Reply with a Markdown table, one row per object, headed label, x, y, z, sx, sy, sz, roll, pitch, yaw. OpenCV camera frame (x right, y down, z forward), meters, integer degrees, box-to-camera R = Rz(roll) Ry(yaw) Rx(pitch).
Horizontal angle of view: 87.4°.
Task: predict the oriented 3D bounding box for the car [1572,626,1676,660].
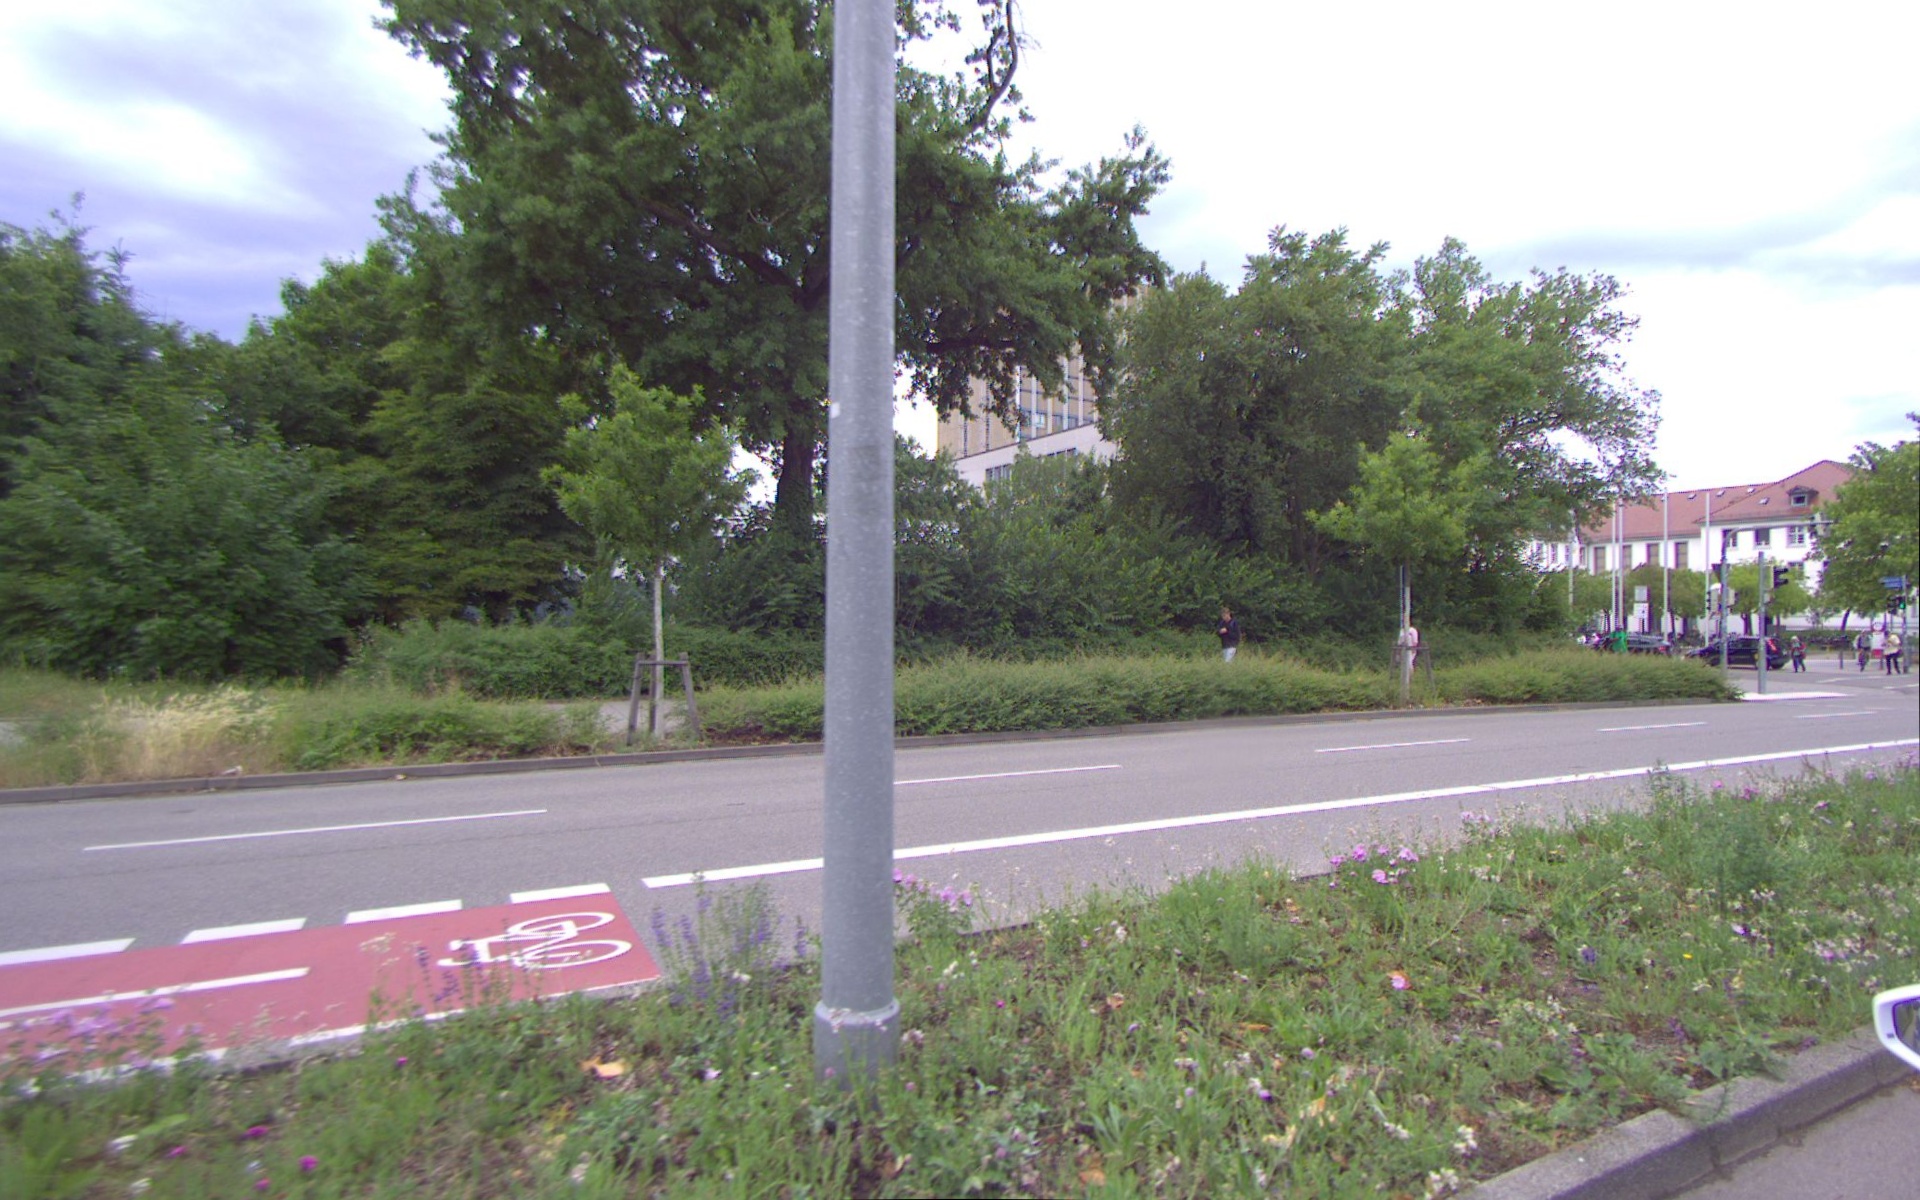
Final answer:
| label | x | y | z | sx | sy | sz | roll | pitch | yaw |
| --- | --- | --- | --- | --- | --- | --- | --- | --- | --- |
| car | 32.685 | 2.105 | 49.526 | 1.612 | 1.472 | 4.010 | -6 | 3 | -44 |

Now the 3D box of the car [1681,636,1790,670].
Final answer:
| label | x | y | z | sx | sy | sz | roll | pitch | yaw |
| --- | --- | --- | --- | --- | --- | --- | --- | --- | --- |
| car | 35.510 | 2.404 | 46.057 | 1.546 | 1.240 | 3.634 | -8 | 4 | -33 |

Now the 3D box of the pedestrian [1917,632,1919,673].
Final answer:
| label | x | y | z | sx | sy | sz | roll | pitch | yaw |
| --- | --- | --- | --- | --- | --- | --- | --- | --- | --- |
| pedestrian | 37.996 | 2.070 | 39.301 | 0.780 | 1.578 | 0.696 | 0 | -4 | 43 |

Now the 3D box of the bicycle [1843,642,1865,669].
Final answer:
| label | x | y | z | sx | sy | sz | roll | pitch | yaw |
| --- | --- | --- | --- | --- | --- | --- | --- | --- | --- |
| bicycle | 38.067 | 2.353 | 42.780 | 0.659 | 1.076 | 1.610 | 1 | -1 | 43 |

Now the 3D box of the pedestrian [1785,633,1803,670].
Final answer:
| label | x | y | z | sx | sy | sz | roll | pitch | yaw |
| --- | --- | --- | --- | --- | --- | --- | --- | --- | --- |
| pedestrian | 35.885 | 2.205 | 43.213 | 0.563 | 1.545 | 0.846 | -1 | -6 | 39 |

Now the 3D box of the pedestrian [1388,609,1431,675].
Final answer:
| label | x | y | z | sx | sy | sz | roll | pitch | yaw |
| --- | --- | --- | --- | --- | --- | --- | --- | --- | --- |
| pedestrian | 11.503 | 1.072 | 25.704 | 0.663 | 1.657 | 0.697 | 0 | -2 | -28 |

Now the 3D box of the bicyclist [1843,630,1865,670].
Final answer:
| label | x | y | z | sx | sy | sz | roll | pitch | yaw |
| --- | --- | --- | --- | --- | --- | --- | --- | --- | --- |
| bicyclist | 38.129 | 2.108 | 42.818 | 0.659 | 1.657 | 0.956 | 1 | 0 | 43 |

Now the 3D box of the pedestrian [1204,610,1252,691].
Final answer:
| label | x | y | z | sx | sy | sz | roll | pitch | yaw |
| --- | --- | --- | --- | --- | --- | --- | --- | --- | --- |
| pedestrian | 5.932 | 1.118 | 22.241 | 0.808 | 1.752 | 0.618 | 0 | -2 | -28 |

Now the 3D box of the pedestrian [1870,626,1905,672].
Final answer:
| label | x | y | z | sx | sy | sz | roll | pitch | yaw |
| --- | --- | --- | --- | --- | --- | --- | --- | --- | --- |
| pedestrian | 37.556 | 1.986 | 40.674 | 0.827 | 1.761 | 0.830 | 1 | -5 | 28 |

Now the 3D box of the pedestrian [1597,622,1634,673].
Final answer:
| label | x | y | z | sx | sy | sz | roll | pitch | yaw |
| --- | --- | --- | --- | --- | --- | --- | --- | --- | --- |
| pedestrian | 23.891 | 1.711 | 36.627 | 0.924 | 1.782 | 0.876 | 1 | 0 | 19 |
